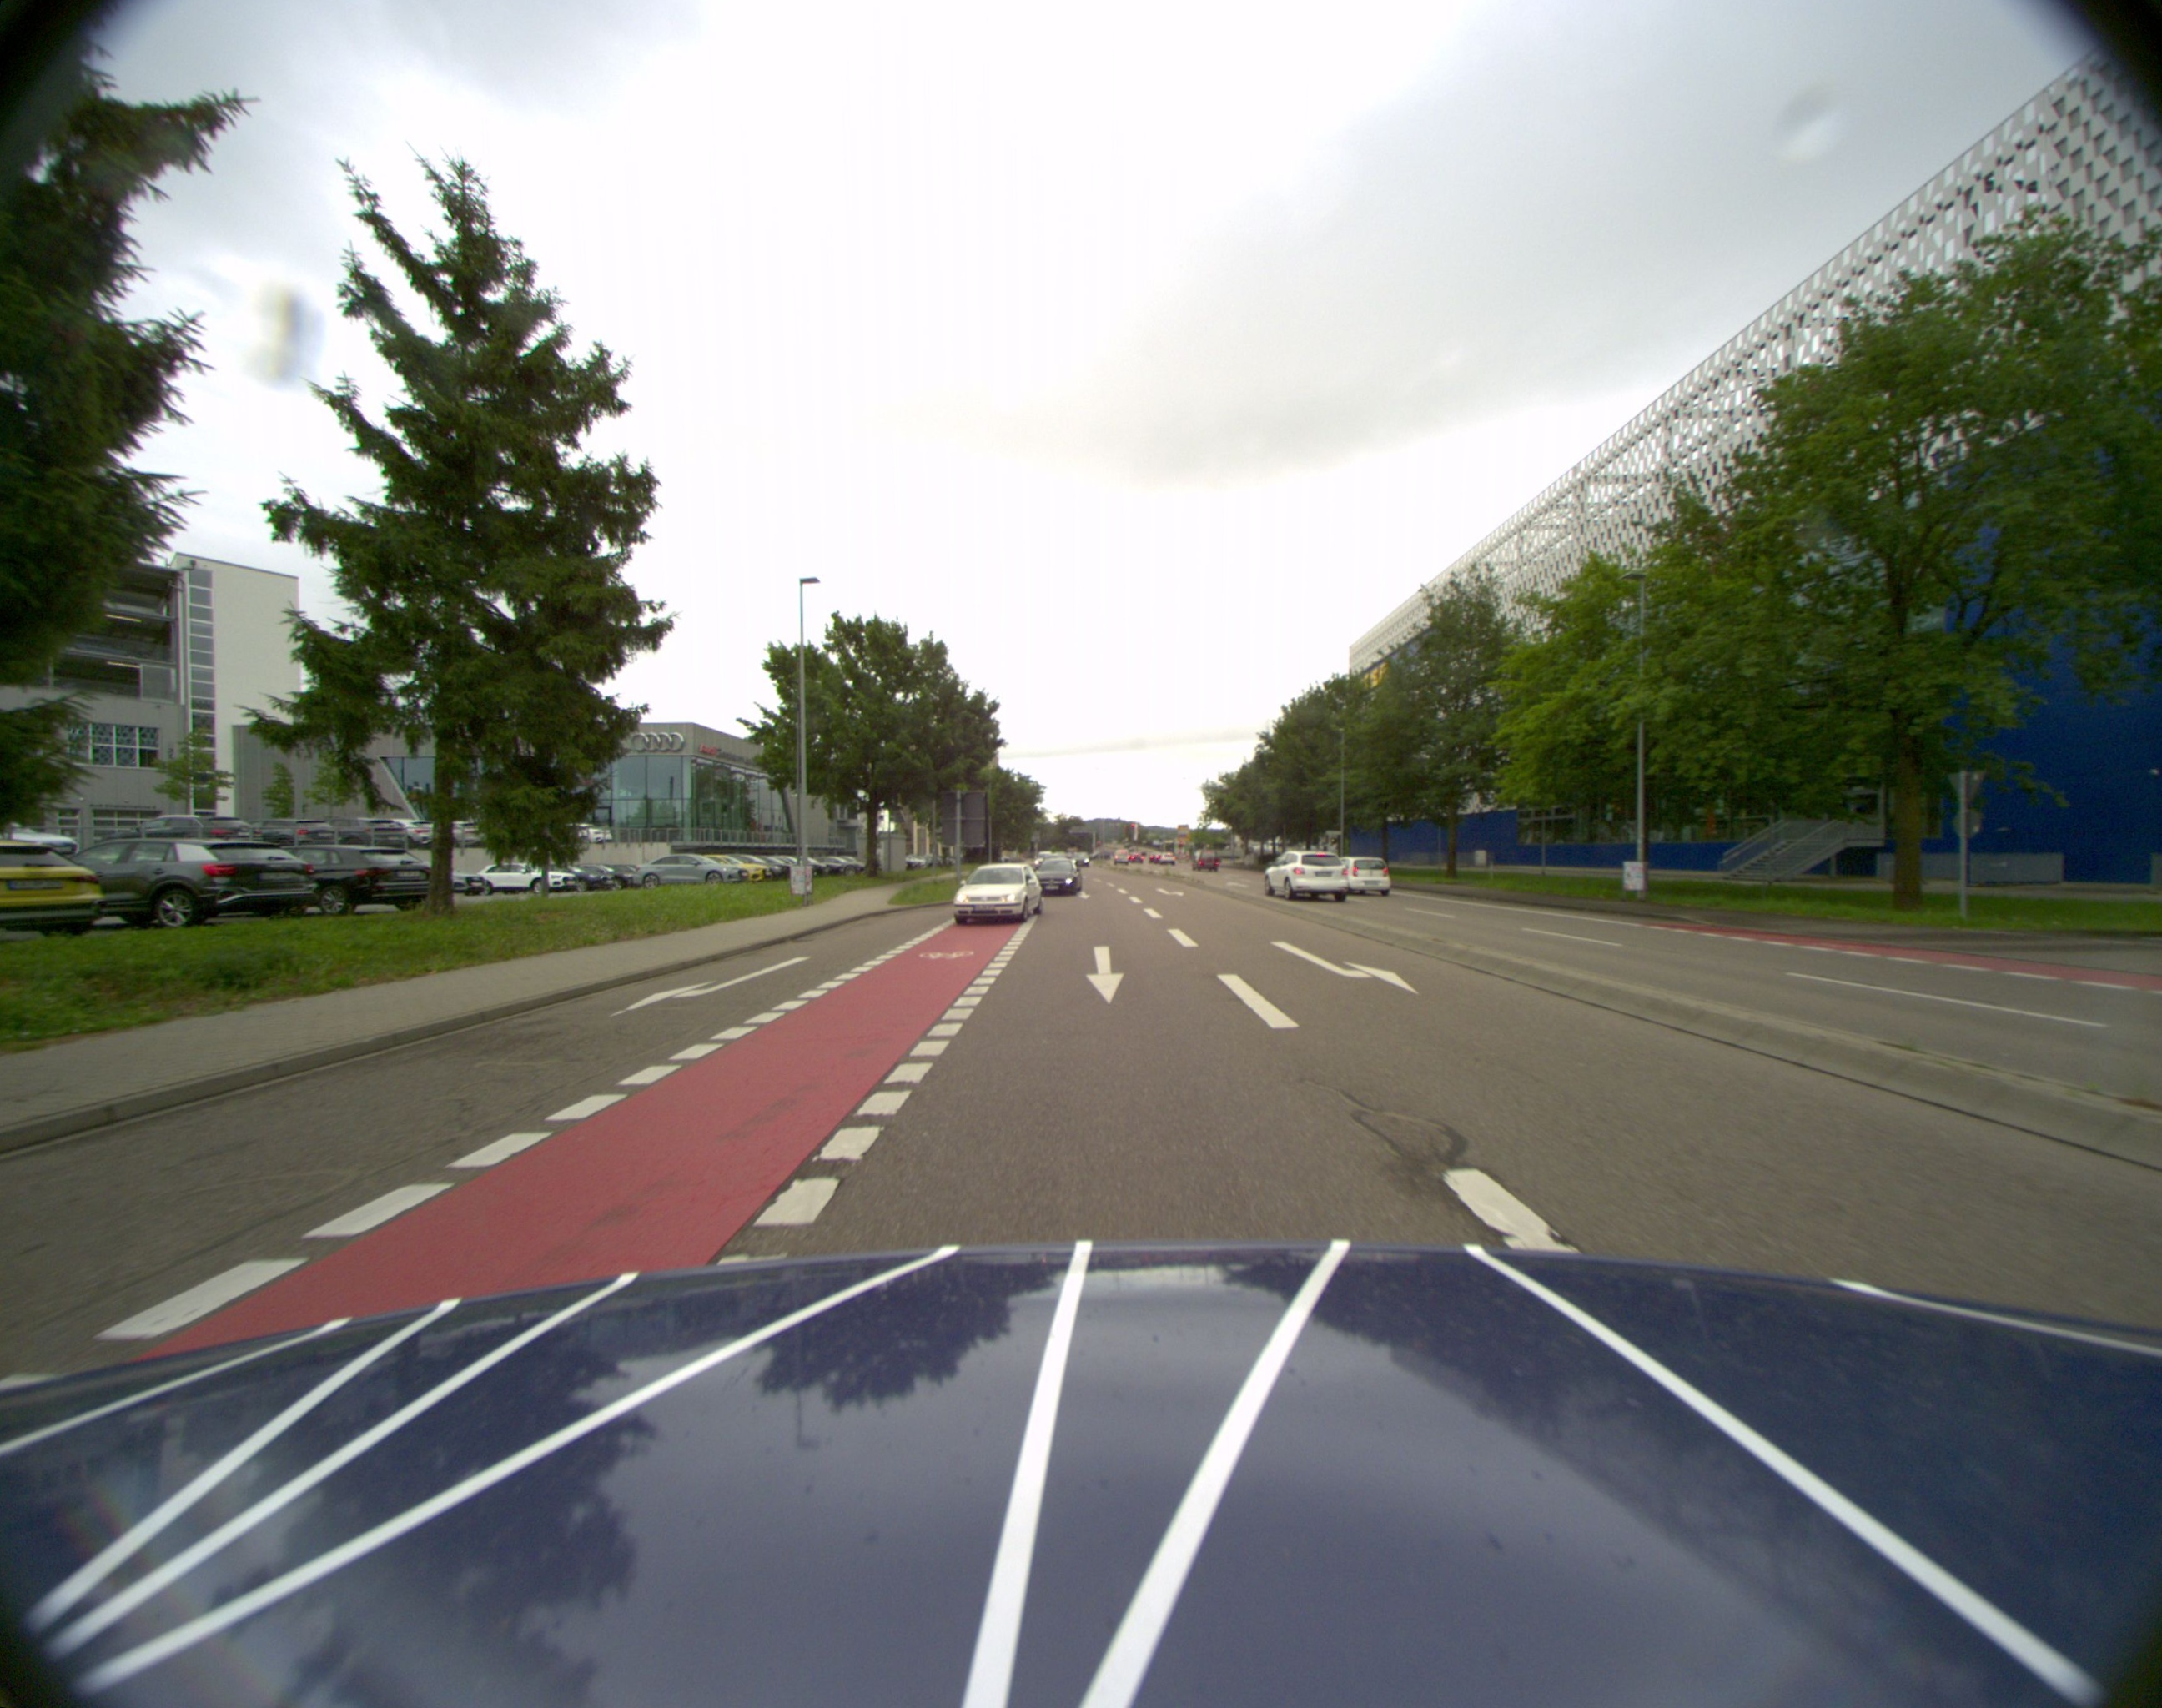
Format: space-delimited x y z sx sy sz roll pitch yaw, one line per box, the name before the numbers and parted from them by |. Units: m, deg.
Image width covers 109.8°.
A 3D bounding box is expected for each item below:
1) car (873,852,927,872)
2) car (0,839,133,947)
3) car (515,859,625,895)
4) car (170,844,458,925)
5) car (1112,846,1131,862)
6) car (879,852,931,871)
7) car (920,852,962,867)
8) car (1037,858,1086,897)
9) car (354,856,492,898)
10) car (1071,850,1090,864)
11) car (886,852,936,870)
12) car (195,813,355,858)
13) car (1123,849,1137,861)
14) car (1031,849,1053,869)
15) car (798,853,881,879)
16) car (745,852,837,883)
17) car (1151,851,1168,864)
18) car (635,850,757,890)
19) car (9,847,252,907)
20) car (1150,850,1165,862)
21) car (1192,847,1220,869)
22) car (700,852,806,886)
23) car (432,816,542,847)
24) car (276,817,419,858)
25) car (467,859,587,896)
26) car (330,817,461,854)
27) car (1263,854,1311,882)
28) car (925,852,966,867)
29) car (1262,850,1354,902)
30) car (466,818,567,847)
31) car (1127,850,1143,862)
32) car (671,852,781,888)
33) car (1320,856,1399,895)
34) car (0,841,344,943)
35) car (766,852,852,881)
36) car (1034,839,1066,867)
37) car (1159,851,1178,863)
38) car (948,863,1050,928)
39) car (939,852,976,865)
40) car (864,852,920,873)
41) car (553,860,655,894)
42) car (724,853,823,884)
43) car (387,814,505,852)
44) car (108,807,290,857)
car | -15.258 0.662 64.120 4.040 1.384 1.727 -3 0 1
car | -15.758 0.607 10.151 4.004 1.371 1.811 -3 0 3
car | -26.313 1.175 39.233 4.308 1.592 1.902 -3 0 1
car | -15.629 0.596 15.655 4.001 1.346 1.902 -3 0 2
car | 4.863 -0.014 91.658 1.651 1.788 3.979 1 0 -5
car | -15.426 0.662 66.654 4.040 1.384 1.727 -3 0 1
car | -14.636 0.561 79.517 4.040 1.384 1.727 -3 0 1
car | -0.852 0.897 31.061 1.837 1.416 3.999 -2 0 -3
car | -26.694 0.913 30.913 3.916 1.451 1.902 -3 0 1
car | 0.009 0.285 76.866 1.836 1.416 4.000 -2 0 1
car | -15.419 0.657 68.996 4.040 1.384 1.727 -3 0 1
car | -32.116 -0.708 30.371 4.308 1.516 1.832 -3 0 -1
car | 7.898 0.170 122.477 1.651 1.788 3.979 2 0 -5
car | -3.721 0.481 72.390 1.995 1.838 4.103 0 0 -2
car | -15.747 0.761 49.691 4.763 1.416 1.902 -3 0 1
car | -15.978 0.708 42.038 4.308 1.436 1.844 -3 0 1
car | 11.328 0.432 109.883 1.651 1.788 3.979 2 0 -5
car | -16.211 0.667 32.110 4.198 1.423 1.739 -3 0 1
car | -26.237 0.612 21.091 4.308 1.497 1.902 -1 0 0
car | 12.077 0.302 119.894 1.651 1.788 3.979 2 0 -5
car | 11.607 0.355 70.958 1.771 1.913 4.908 1 0 0
car | -15.837 0.700 36.817 4.308 1.350 1.739 -3 0 1
car | -31.761 -1.177 40.713 4.308 1.355 1.832 -3 0 -1
car | -31.738 -0.712 32.958 4.308 1.503 1.832 -3 0 -1
car | -26.538 1.104 36.503 4.308 1.592 1.902 -2 1 1
car | -31.853 -0.839 35.402 4.308 1.424 1.864 -3 0 -1
car | 11.081 0.720 41.155 1.628 1.414 3.611 1 0 0
car | -14.658 0.558 82.100 4.040 1.384 1.727 -3 0 1
car | 7.626 0.687 25.989 1.822 1.577 4.513 1 0 1
car | -32.232 -1.208 43.458 4.308 1.355 1.832 -3 0 -1
car | 8.059 0.270 113.010 1.651 1.788 3.979 2 0 -5
car | -16.080 0.719 34.548 4.055 1.369 1.795 -3 0 2
car | 10.956 0.807 30.157 1.681 1.420 3.650 1 0 -2
car | -15.517 0.608 13.038 3.761 1.415 1.953 -3 0 0
car | -15.899 0.719 44.559 4.308 1.436 1.844 -3 0 1
car | -1.943 -0.086 46.857 1.788 1.638 3.998 0 0 -5
car | 11.890 0.430 103.662 1.728 1.602 3.979 2 0 -5
car | -2.017 1.012 19.788 1.725 1.416 3.943 -2 0 7
car | -14.718 0.532 90.419 4.040 1.384 1.727 -3 0 1
car | -15.310 0.680 61.702 4.040 1.384 1.727 -3 0 1
car | -26.233 1.243 41.874 4.308 1.592 1.902 -3 0 1
car | -15.937 0.736 39.470 4.308 1.370 1.838 -3 0 1
car | -31.753 -1.026 38.073 4.307 1.582 1.896 -3 0 3
car | -31.988 -0.779 27.658 4.308 1.518 1.859 -3 0 -1
